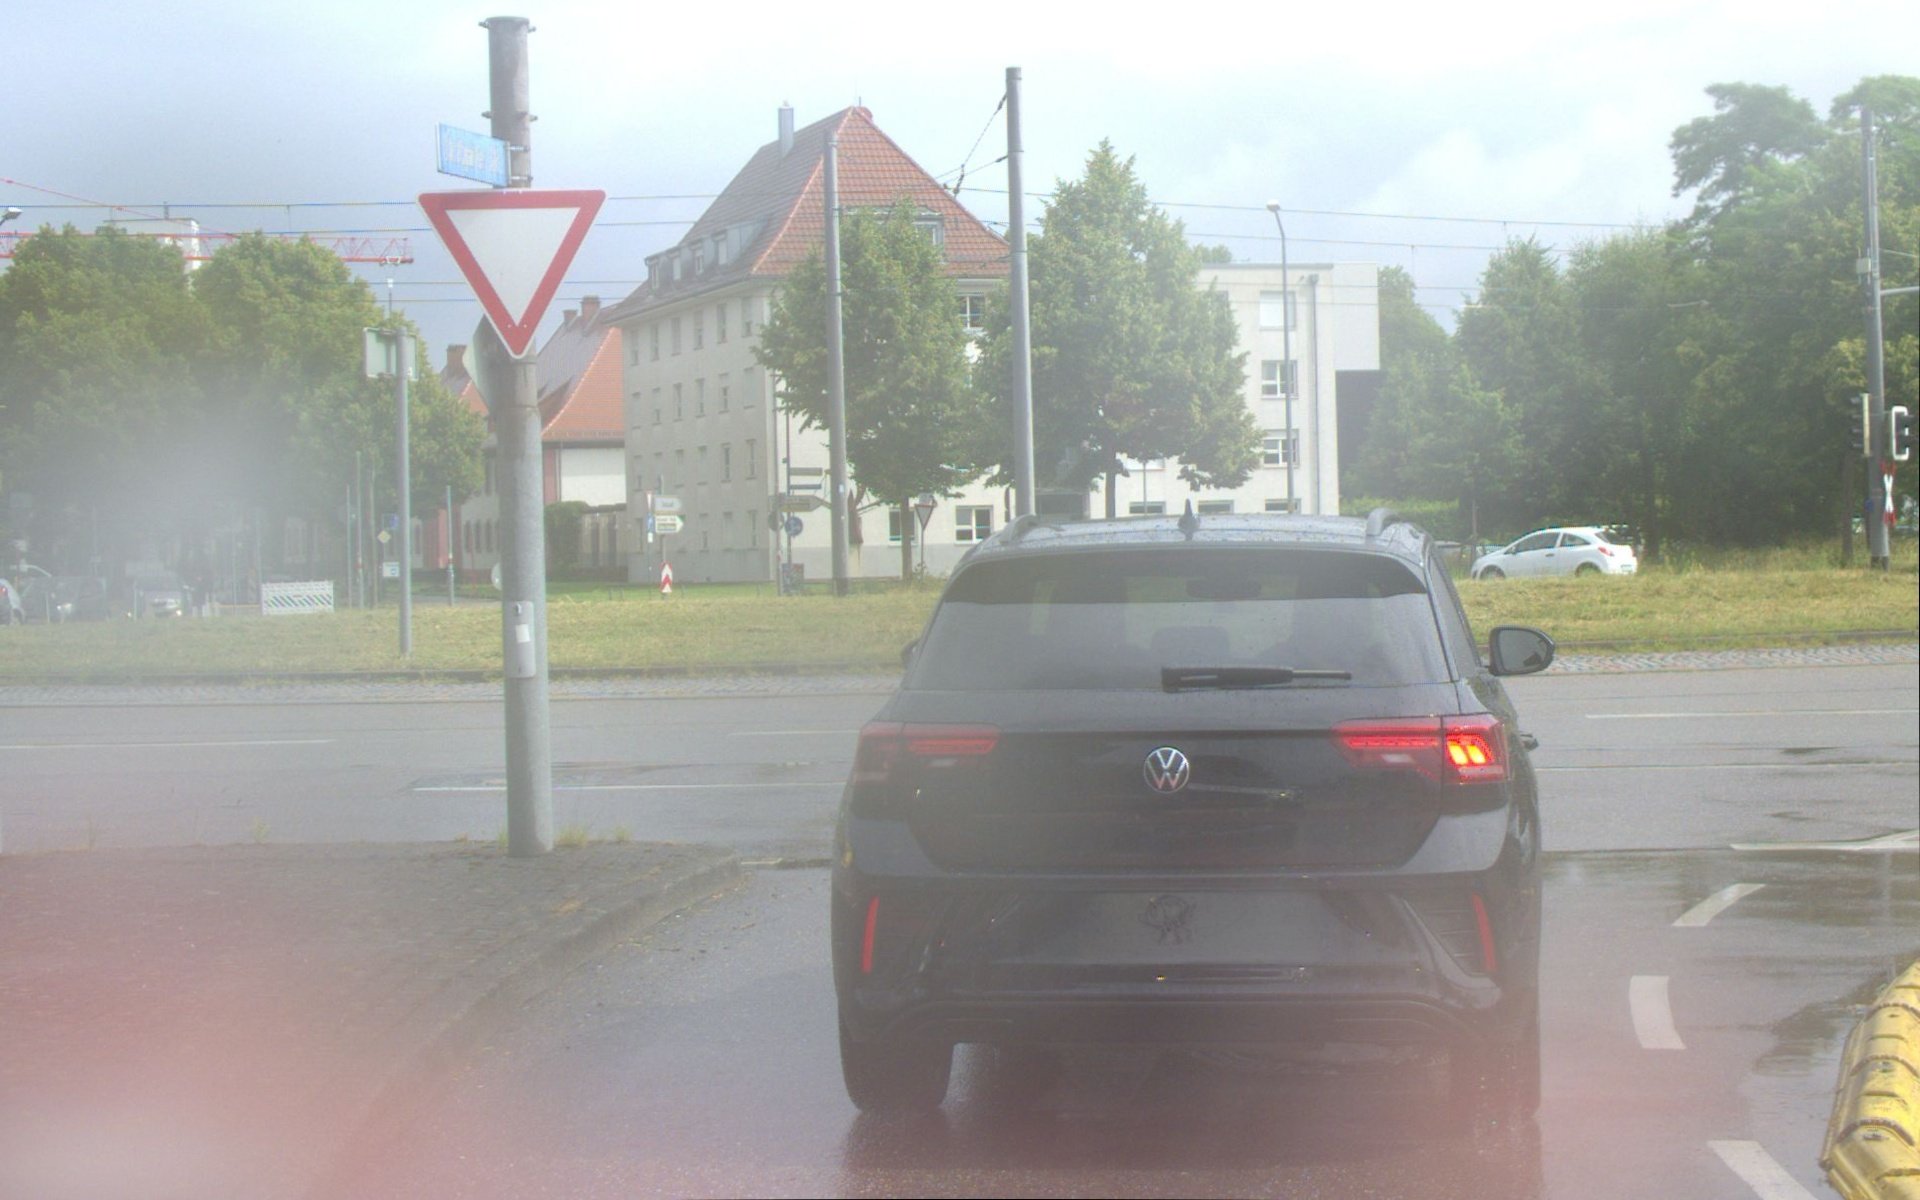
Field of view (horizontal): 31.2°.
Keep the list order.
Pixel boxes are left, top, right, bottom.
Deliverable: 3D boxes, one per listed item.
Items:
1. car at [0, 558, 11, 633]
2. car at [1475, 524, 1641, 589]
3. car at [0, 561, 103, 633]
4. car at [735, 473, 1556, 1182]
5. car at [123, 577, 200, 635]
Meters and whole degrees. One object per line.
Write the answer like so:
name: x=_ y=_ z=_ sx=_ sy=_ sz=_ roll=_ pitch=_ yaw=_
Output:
car: x=-21.569 y=-0.045 z=70.595 sx=1.573 sy=1.555 sz=3.668 roll=0 pitch=2 yaw=45
car: x=14.077 y=-1.022 z=80.995 sx=3.496 sy=1.449 sz=1.547 roll=-1 pitch=2 yaw=36
car: x=-21.719 y=-0.090 z=81.834 sx=1.791 sy=1.579 sz=4.001 roll=-1 pitch=1 yaw=-3
car: x=0.682 y=0.491 z=9.966 sx=1.898 sy=1.612 sz=3.999 roll=1 pitch=1 yaw=8
car: x=-22.662 y=0.166 z=97.677 sx=1.545 sy=1.555 sz=3.501 roll=-1 pitch=1 yaw=-3
